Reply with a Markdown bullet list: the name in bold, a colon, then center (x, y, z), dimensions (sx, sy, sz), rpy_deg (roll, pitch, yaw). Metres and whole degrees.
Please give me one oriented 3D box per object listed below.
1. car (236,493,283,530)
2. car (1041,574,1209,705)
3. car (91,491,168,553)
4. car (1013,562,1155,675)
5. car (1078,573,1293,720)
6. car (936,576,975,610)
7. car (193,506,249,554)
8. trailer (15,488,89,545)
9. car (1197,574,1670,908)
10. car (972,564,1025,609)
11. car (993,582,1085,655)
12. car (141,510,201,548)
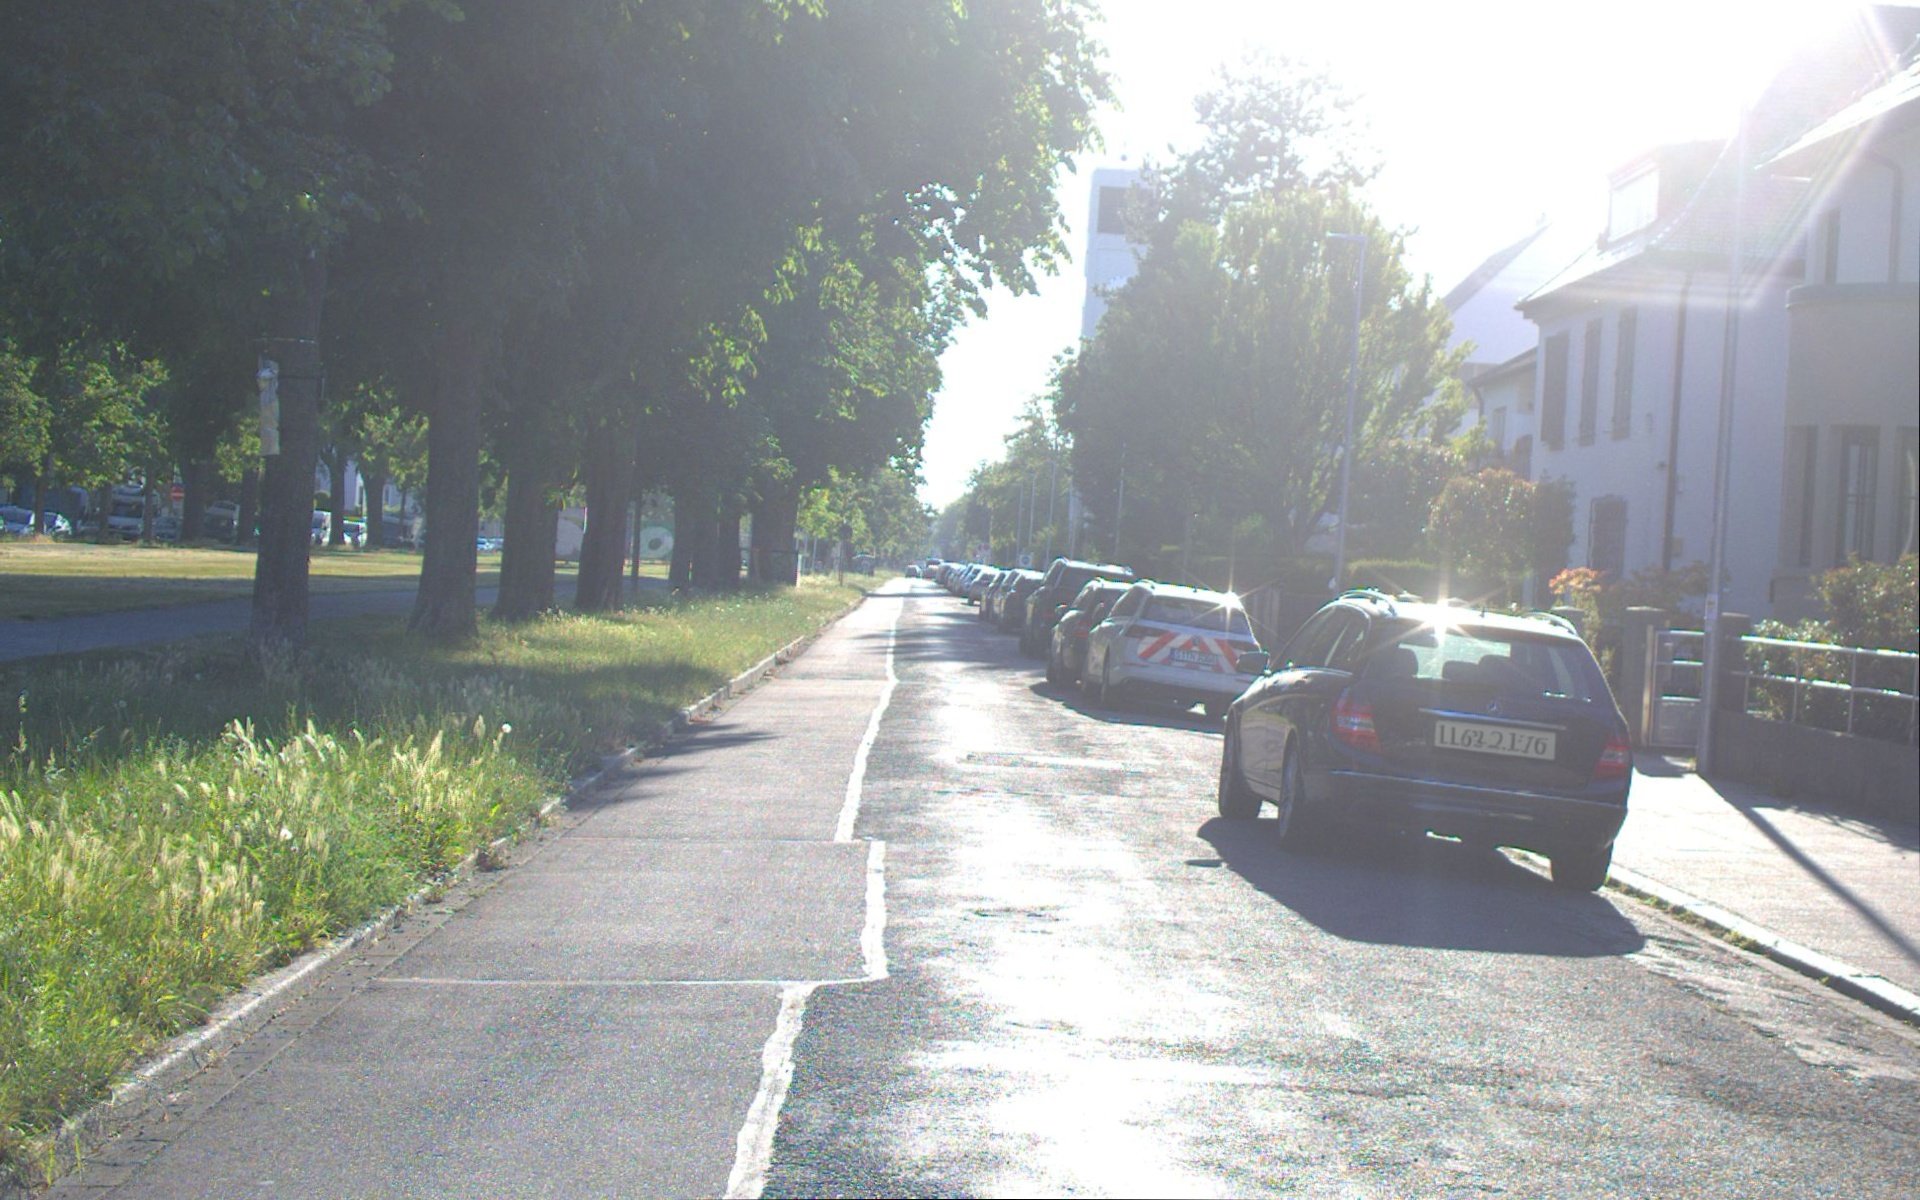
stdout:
- **car**: center (-43.286, -5.479, 212.487), dimensions (1.993, 2.007, 4.484), rpy_deg (2, -1, -1)
- **car**: center (2.146, 0.484, 45.891), dimensions (1.780, 1.458, 4.594), rpy_deg (7, 0, -1)
- **car**: center (-42.251, -3.941, 175.011), dimensions (2.437, 2.912, 5.818), rpy_deg (2, 0, -1)
- **car**: center (2.104, 0.288, 59.746), dimensions (1.993, 1.731, 4.864), rpy_deg (4, 0, -2)
- **car**: center (2.550, 0.490, 39.979), dimensions (1.993, 1.459, 4.550), rpy_deg (4, 1, -2)
- **car**: center (-0.256, -0.384, 176.219), dimensions (1.758, 1.599, 4.359), rpy_deg (4, 0, -2)
- **car**: center (-36.350, -3.434, 169.206), dimensions (1.685, 2.168, 4.314), rpy_deg (5, 1, 0)
- **trailer**: center (-41.845, -3.831, 158.533), dimensions (1.993, 2.420, 4.724), rpy_deg (4, 0, 0)
- **car**: center (2.567, 0.704, 19.714), dimensions (1.779, 1.494, 4.398), rpy_deg (7, 0, -2)
- **car**: center (1.480, -0.517, 132.270), dimensions (1.757, 1.415, 4.072), rpy_deg (10, 0, 0)
- **car**: center (1.792, 0.412, 79.536), dimensions (1.793, 1.487, 4.674), rpy_deg (5, 0, -1)
- **car**: center (-36.435, -3.246, 158.821), dimensions (1.685, 1.554, 4.314), rpy_deg (4, 0, 0)
